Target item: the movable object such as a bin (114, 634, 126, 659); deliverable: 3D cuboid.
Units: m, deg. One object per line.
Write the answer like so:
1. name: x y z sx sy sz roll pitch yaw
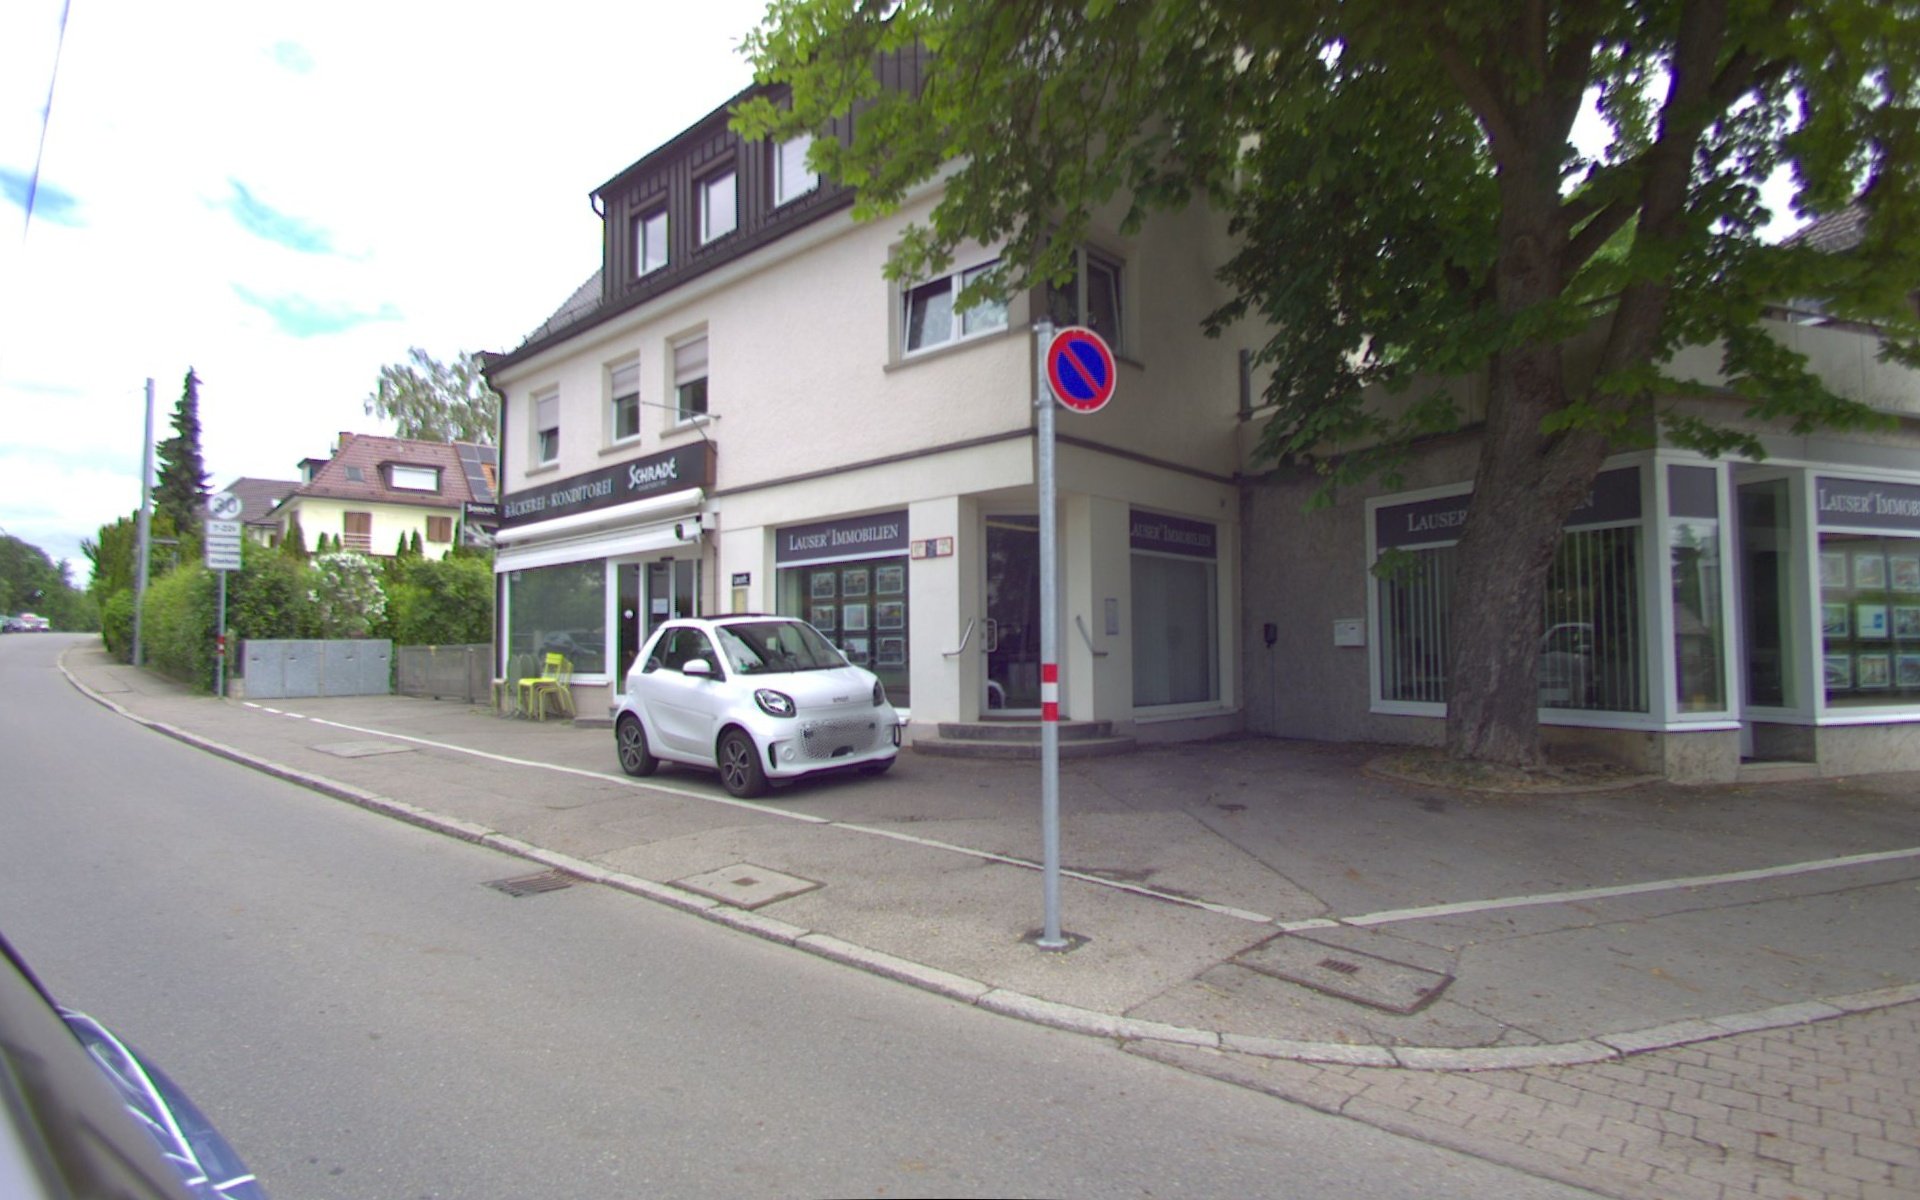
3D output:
1. movable object such as a bin: -30.626 1.683 36.892 0.332 0.900 0.477 0 -1 -39

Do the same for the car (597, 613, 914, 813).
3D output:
1. car: -2.023 0.942 9.654 2.924 1.550 1.571 -2 0 44
